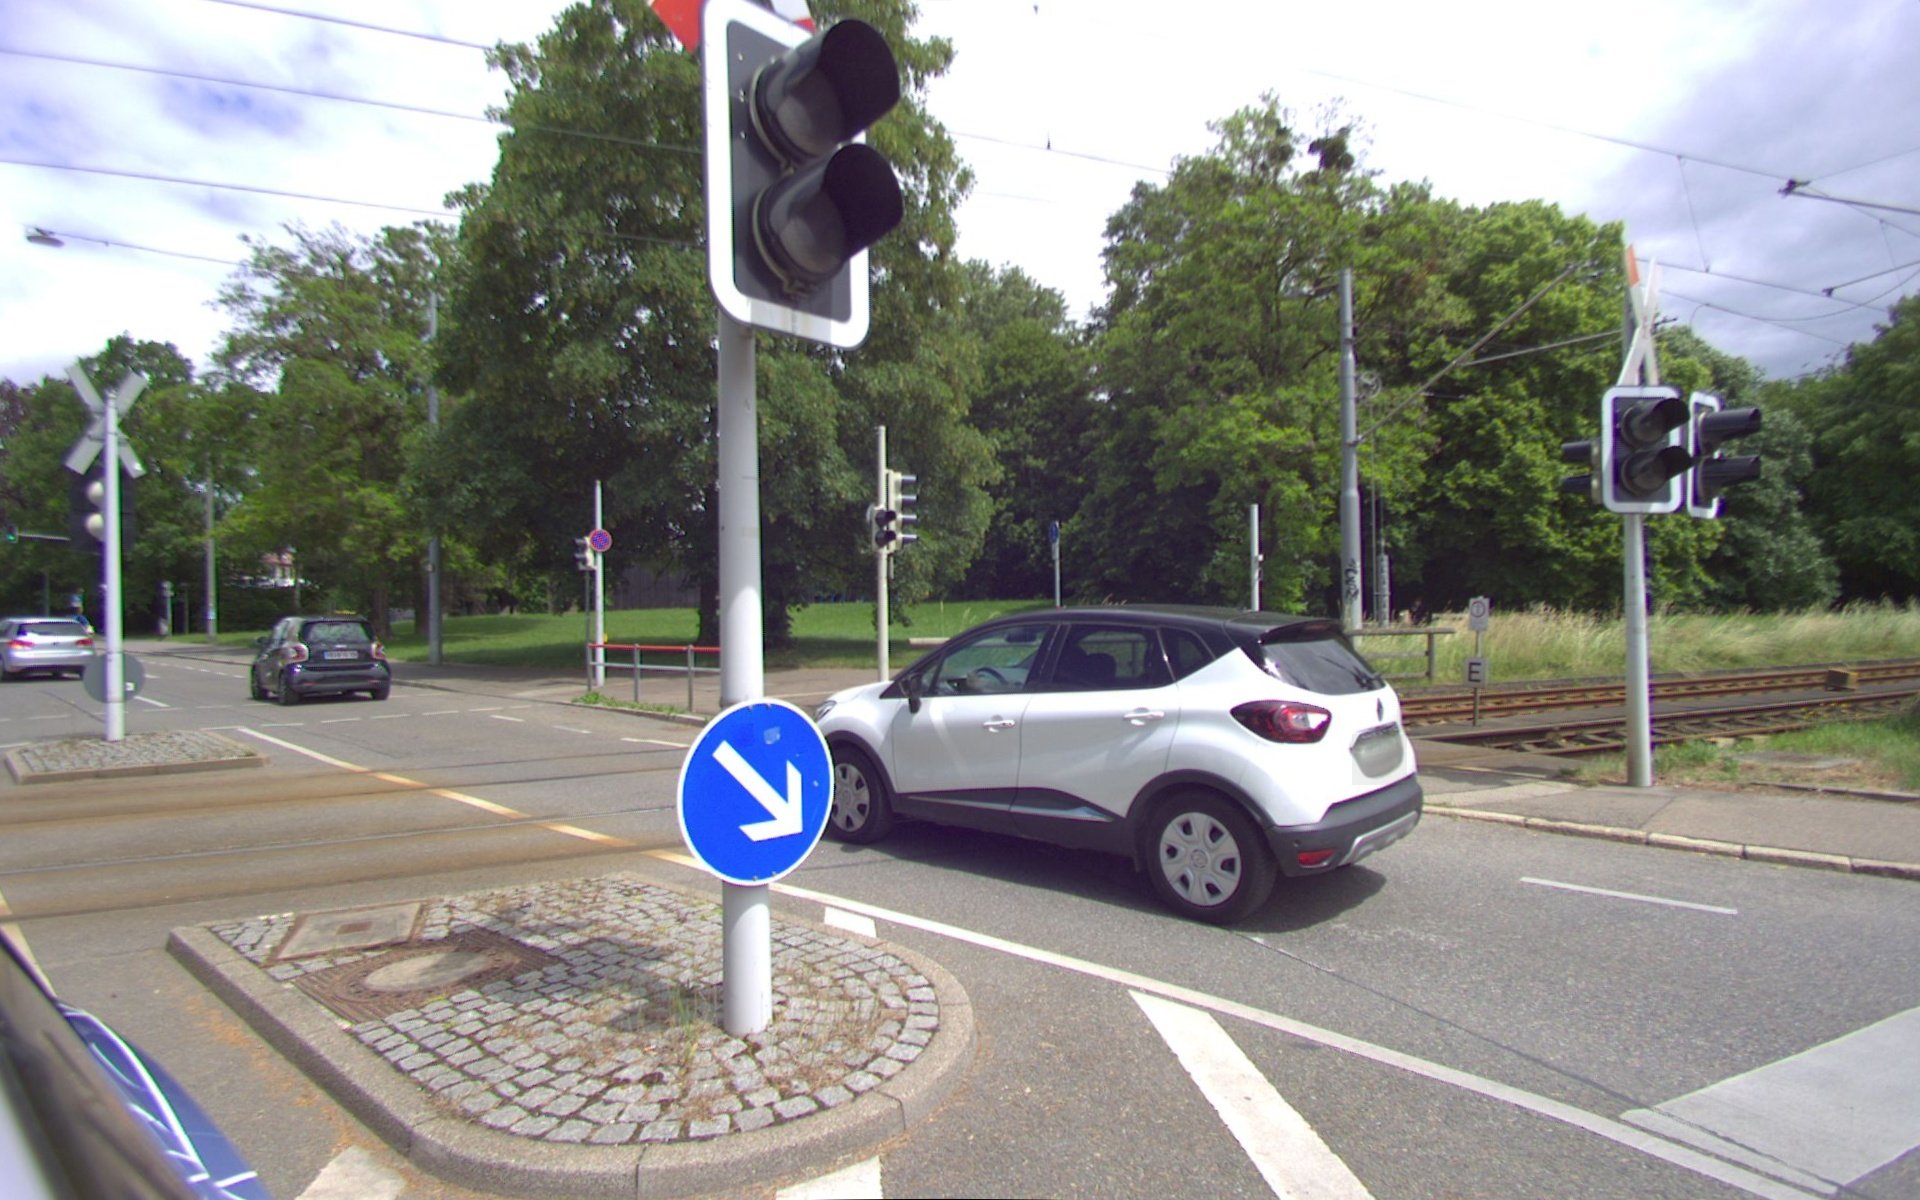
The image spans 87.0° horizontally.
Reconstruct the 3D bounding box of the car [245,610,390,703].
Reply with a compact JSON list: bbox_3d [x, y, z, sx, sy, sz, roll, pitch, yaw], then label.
[{"bbox_3d":[-11.581,0.982,18.207,2.788,1.521,1.557,-2,-3,43],"label":"car"}]

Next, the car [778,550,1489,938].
[{"bbox_3d":[0.817,0.652,6.259,4.038,1.615,1.755,-1,-2,43],"label":"car"}]

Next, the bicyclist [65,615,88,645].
[{"bbox_3d":[-48.986,1.641,56.129,0.771,1.620,0.797,-1,0,39],"label":"bicyclist"}]

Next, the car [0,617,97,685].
[{"bbox_3d":[-22.426,1.157,24.248,4.059,1.469,1.674,0,0,35],"label":"car"}]

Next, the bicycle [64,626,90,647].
[{"bbox_3d":[-49.023,1.994,56.177,1.798,1.116,0.803,-1,1,39],"label":"bicycle"}]
